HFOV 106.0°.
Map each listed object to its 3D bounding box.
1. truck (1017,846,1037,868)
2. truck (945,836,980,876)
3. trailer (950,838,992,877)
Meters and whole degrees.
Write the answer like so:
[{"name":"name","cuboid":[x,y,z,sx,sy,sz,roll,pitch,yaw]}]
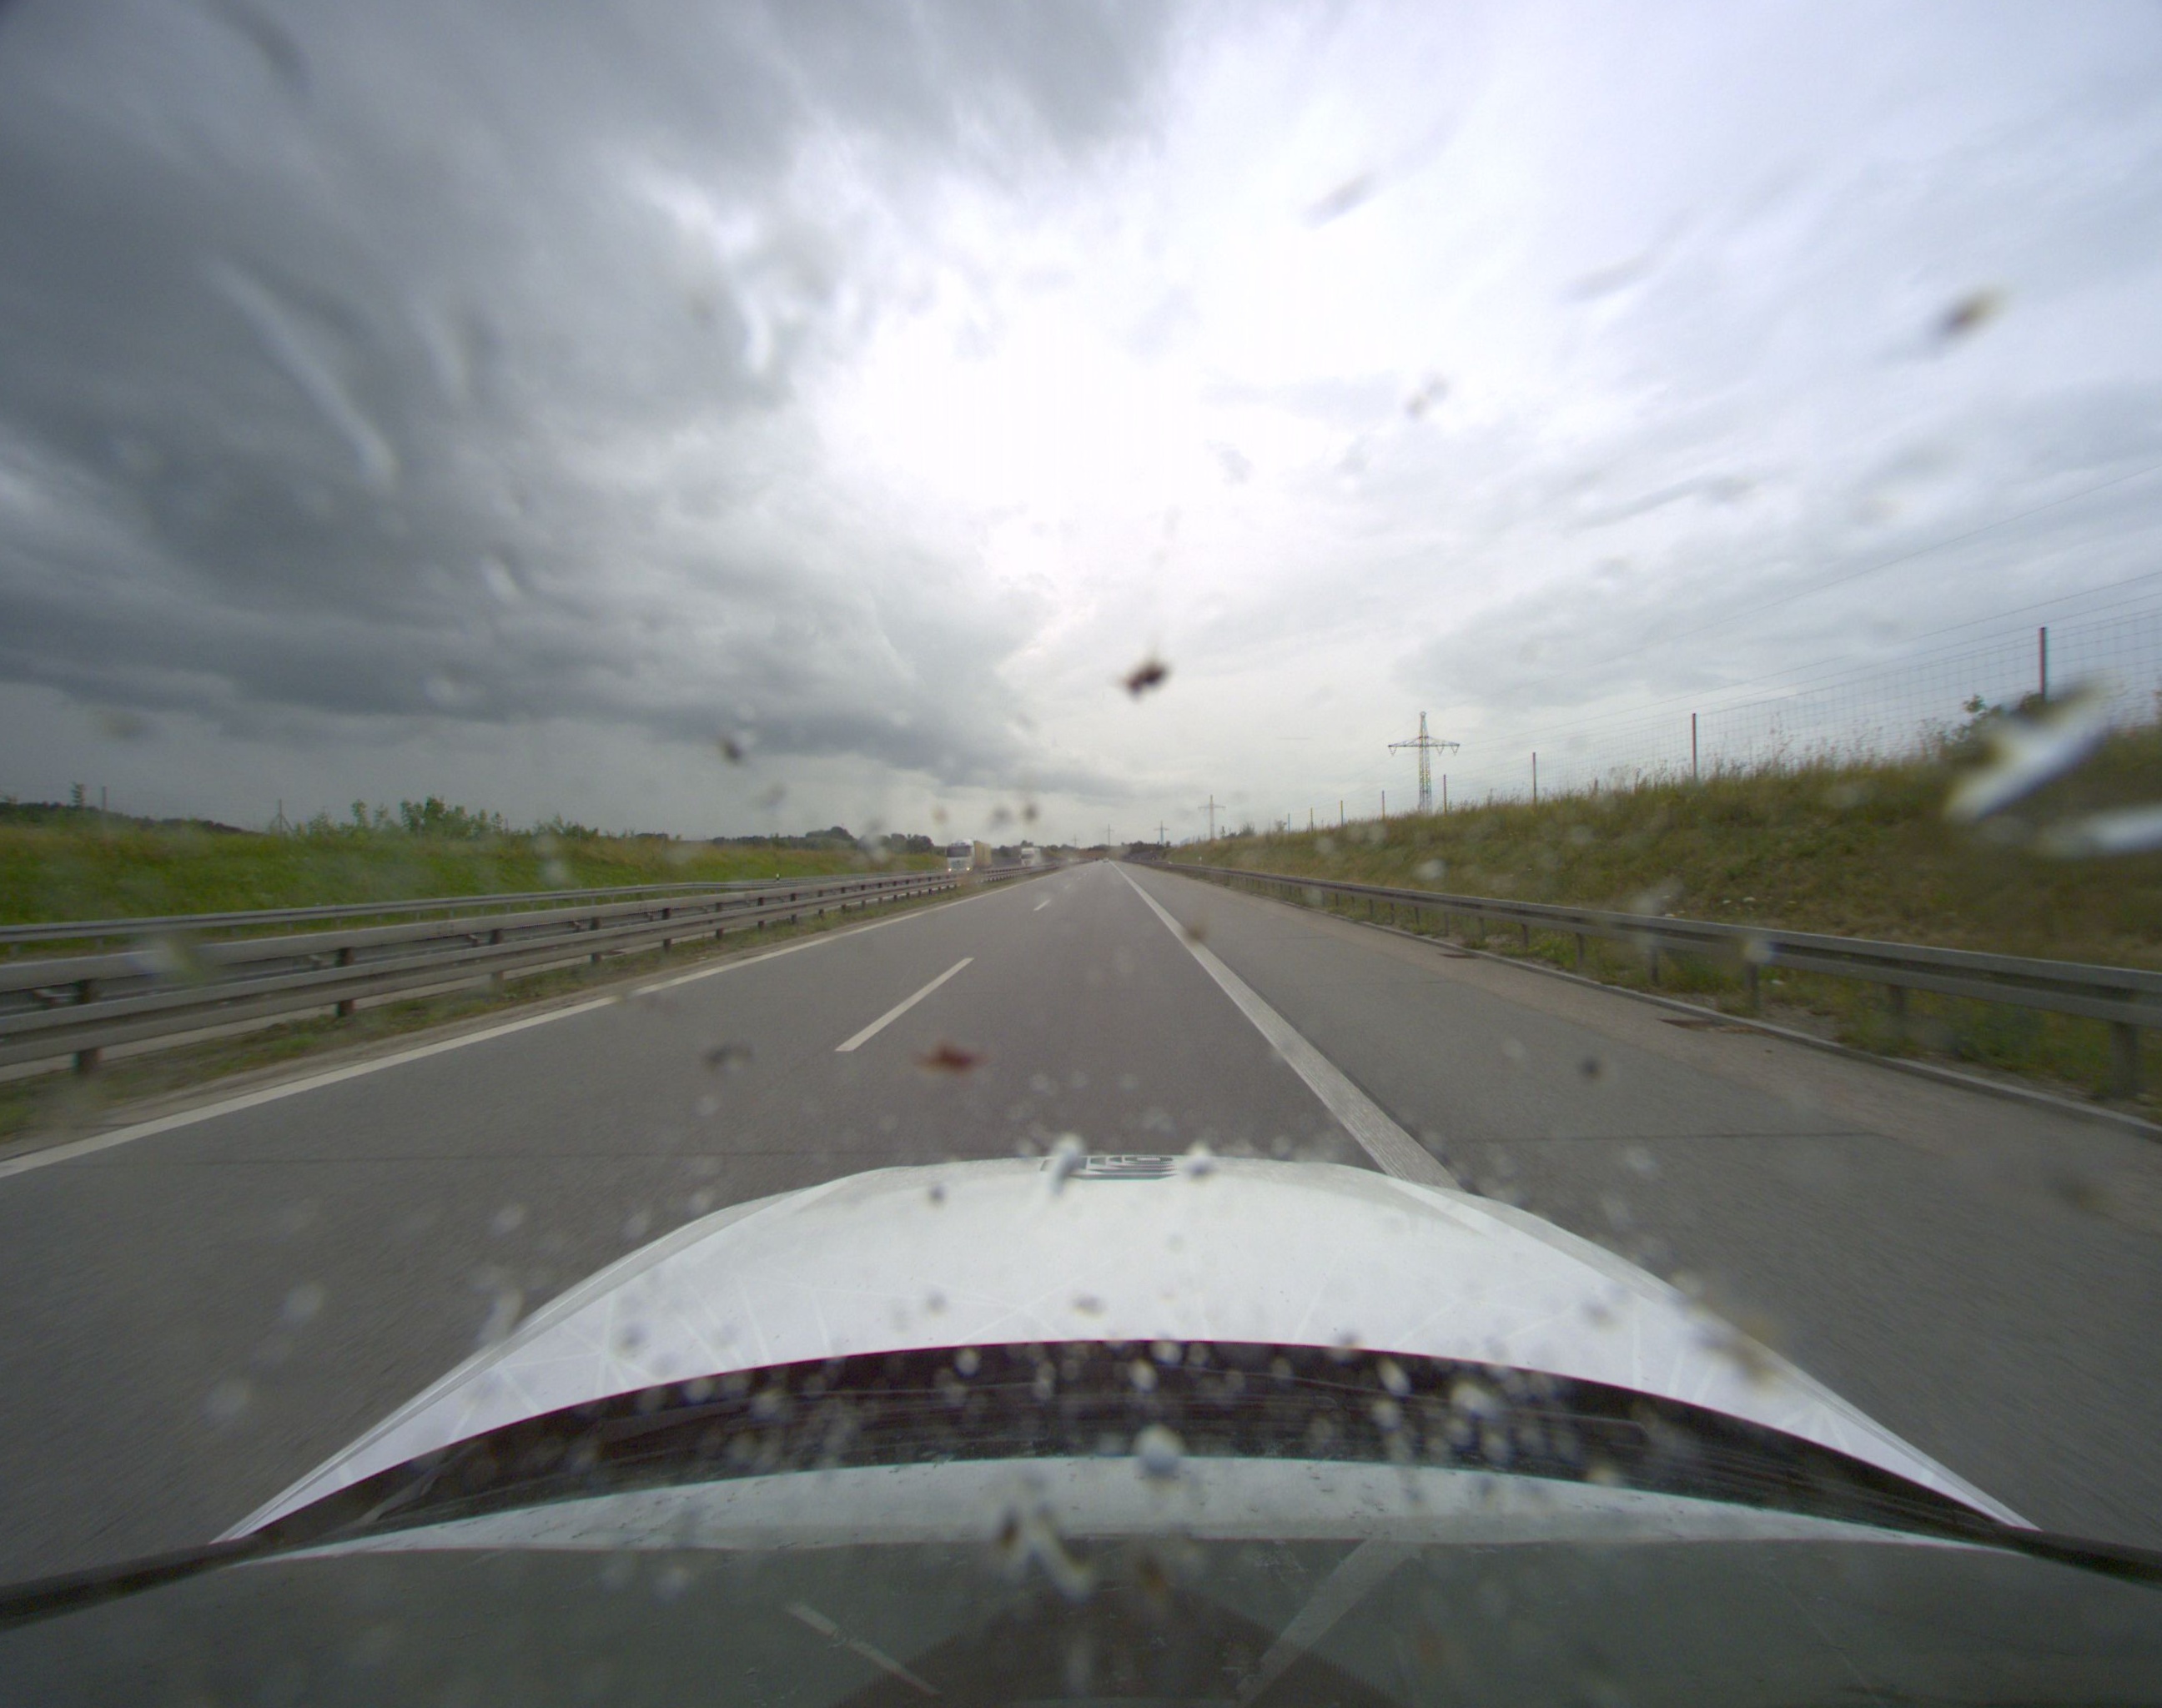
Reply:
[{"name":"truck","cuboid":[-10.131,0.606,152.672,2.941,3.925,5.520,-2,0,2]},{"name":"truck","cuboid":[-12.279,0.243,84.928,2.584,3.925,5.587,-2,0,0]},{"name":"trailer","cuboid":[-12.215,0.416,91.613,2.581,3.925,13.701,-2,0,1]}]
